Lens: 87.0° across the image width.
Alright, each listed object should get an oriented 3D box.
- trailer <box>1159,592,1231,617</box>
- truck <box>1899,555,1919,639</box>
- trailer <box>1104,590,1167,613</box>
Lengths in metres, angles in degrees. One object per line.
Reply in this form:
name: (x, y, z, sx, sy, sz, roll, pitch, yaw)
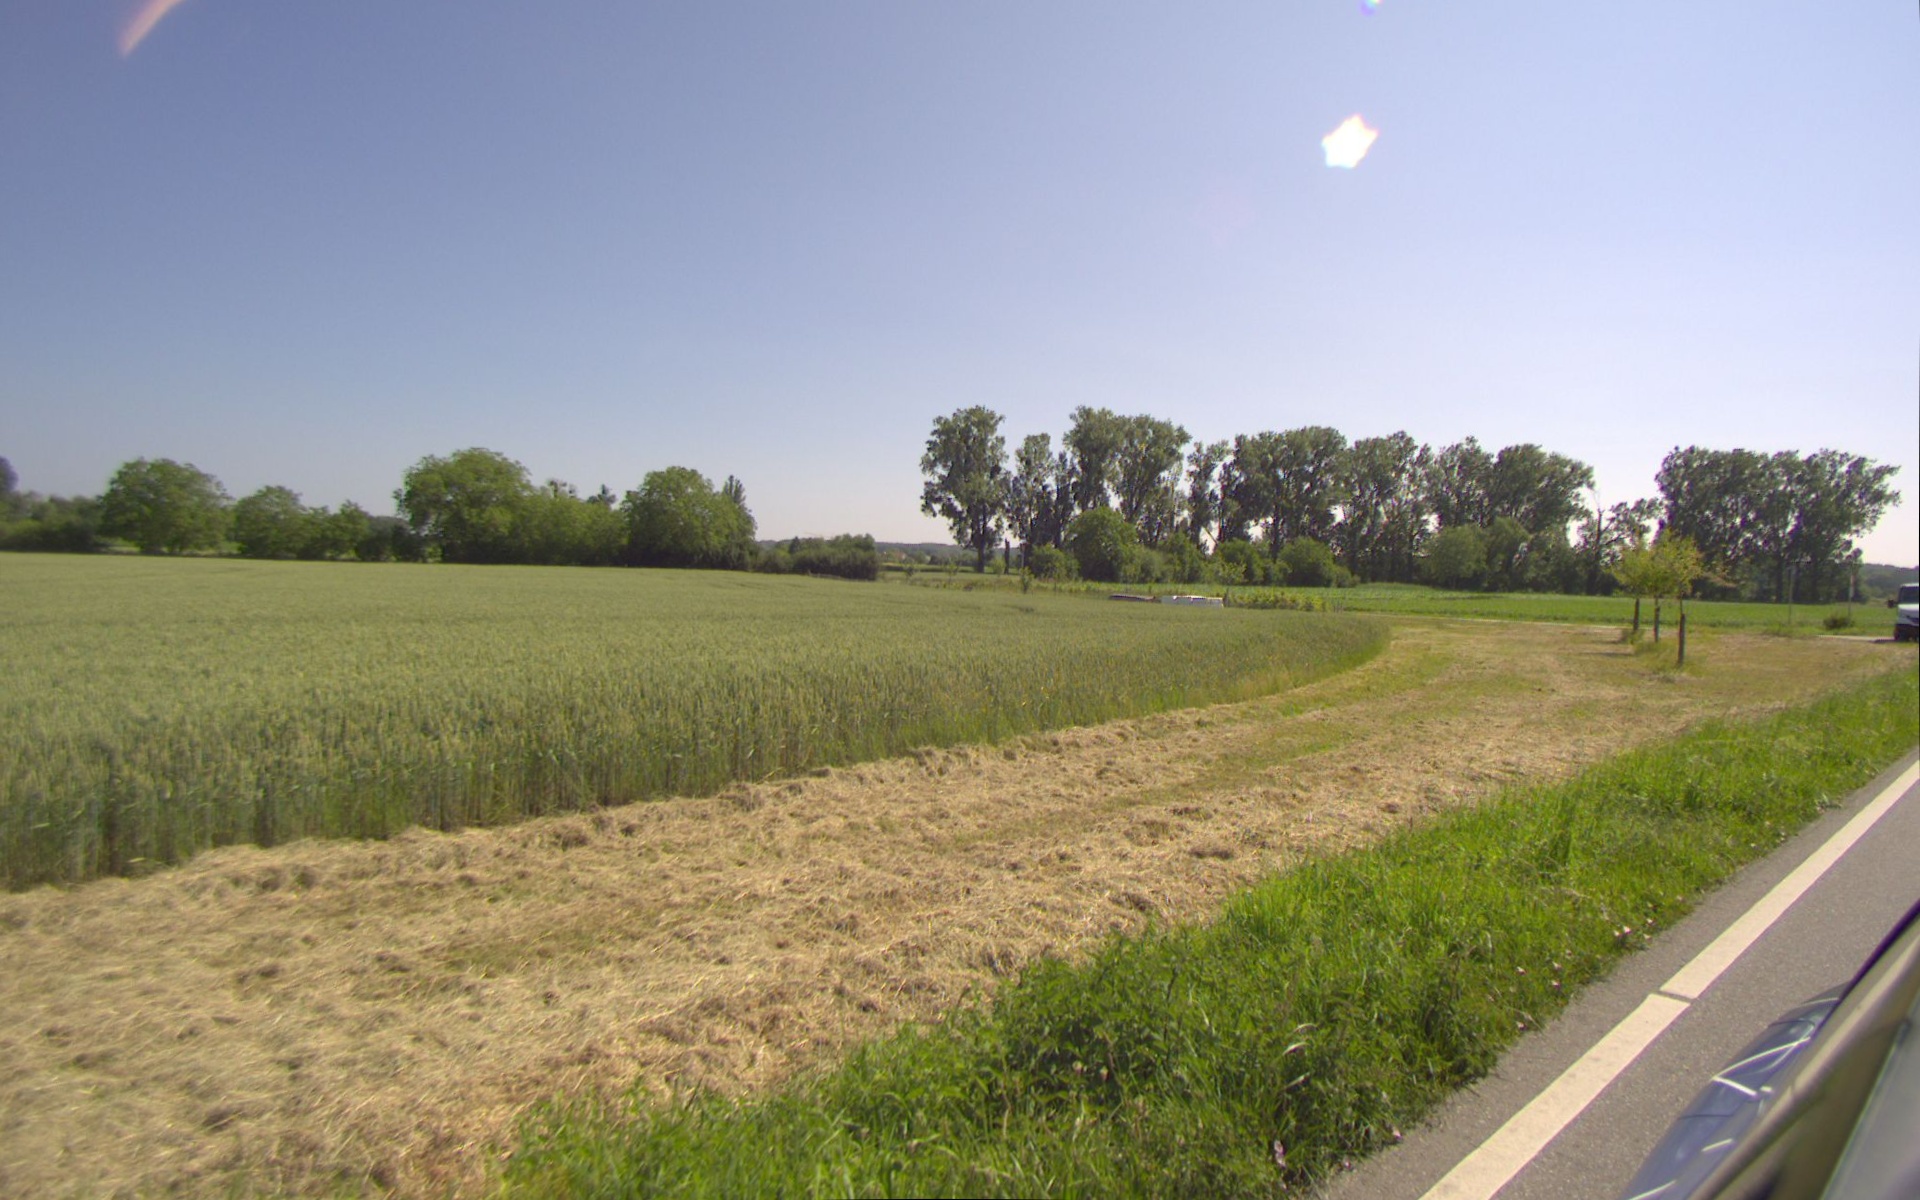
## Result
trailer: (12.049, 0.218, 52.130, 1.630, 1.204, 3.601, 0, 1, -28)
truck: (37.129, -0.135, 37.911, 6.891, 2.980, 2.337, 0, -1, -43)
trailer: (9.820, 0.086, 56.741, 1.630, 1.204, 3.554, 0, 1, -28)
